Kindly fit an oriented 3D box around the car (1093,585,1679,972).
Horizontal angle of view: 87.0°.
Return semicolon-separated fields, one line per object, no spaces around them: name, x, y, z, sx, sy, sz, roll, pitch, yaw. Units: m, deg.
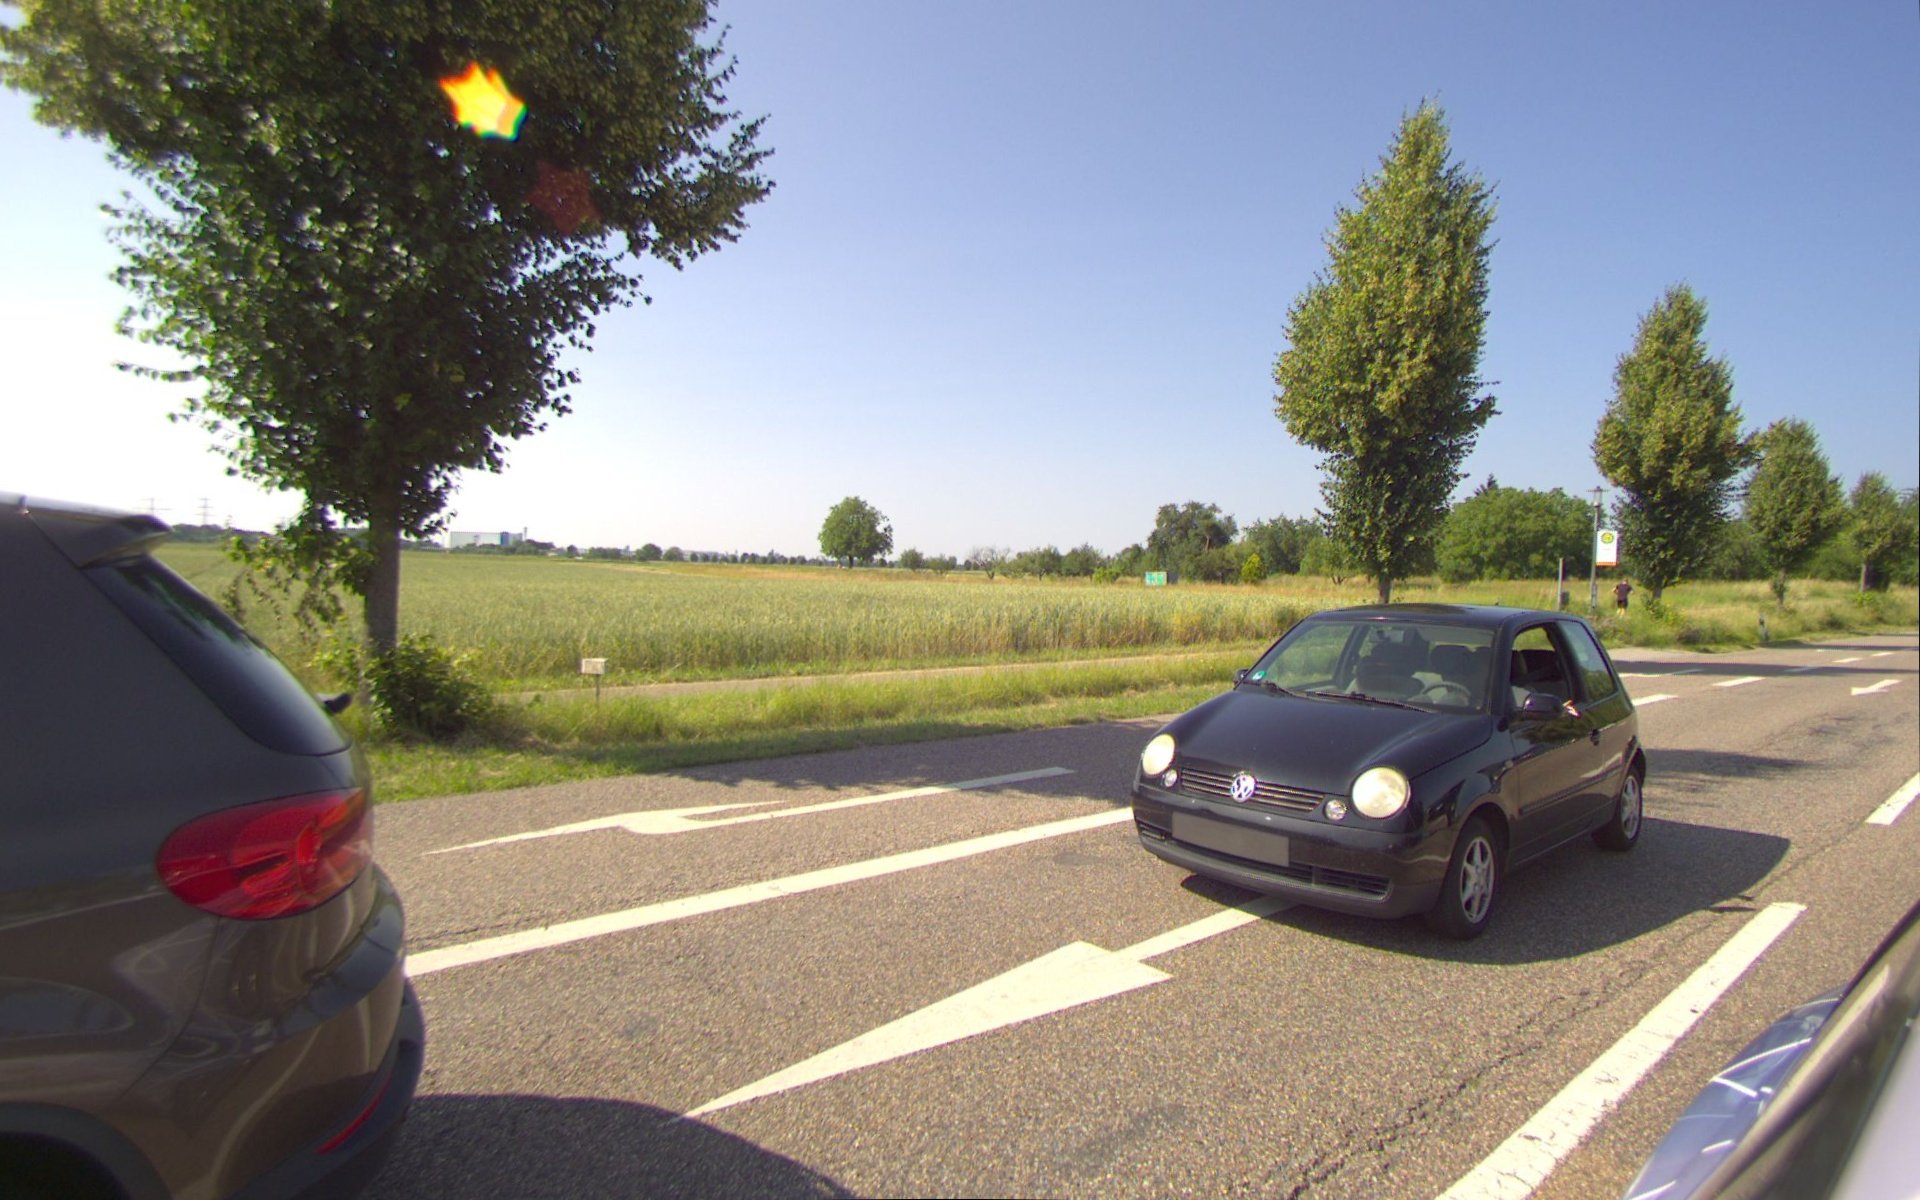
car;2.523;0.658;5.598;3.560;1.451;1.628;0;1;-42

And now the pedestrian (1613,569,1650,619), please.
pedestrian;25.858;-0.234;38.973;1.174;1.862;0.903;0;2;-43

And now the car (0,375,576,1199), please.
car;-2.775;0.549;1.102;4.075;1.676;1.758;0;0;-42
